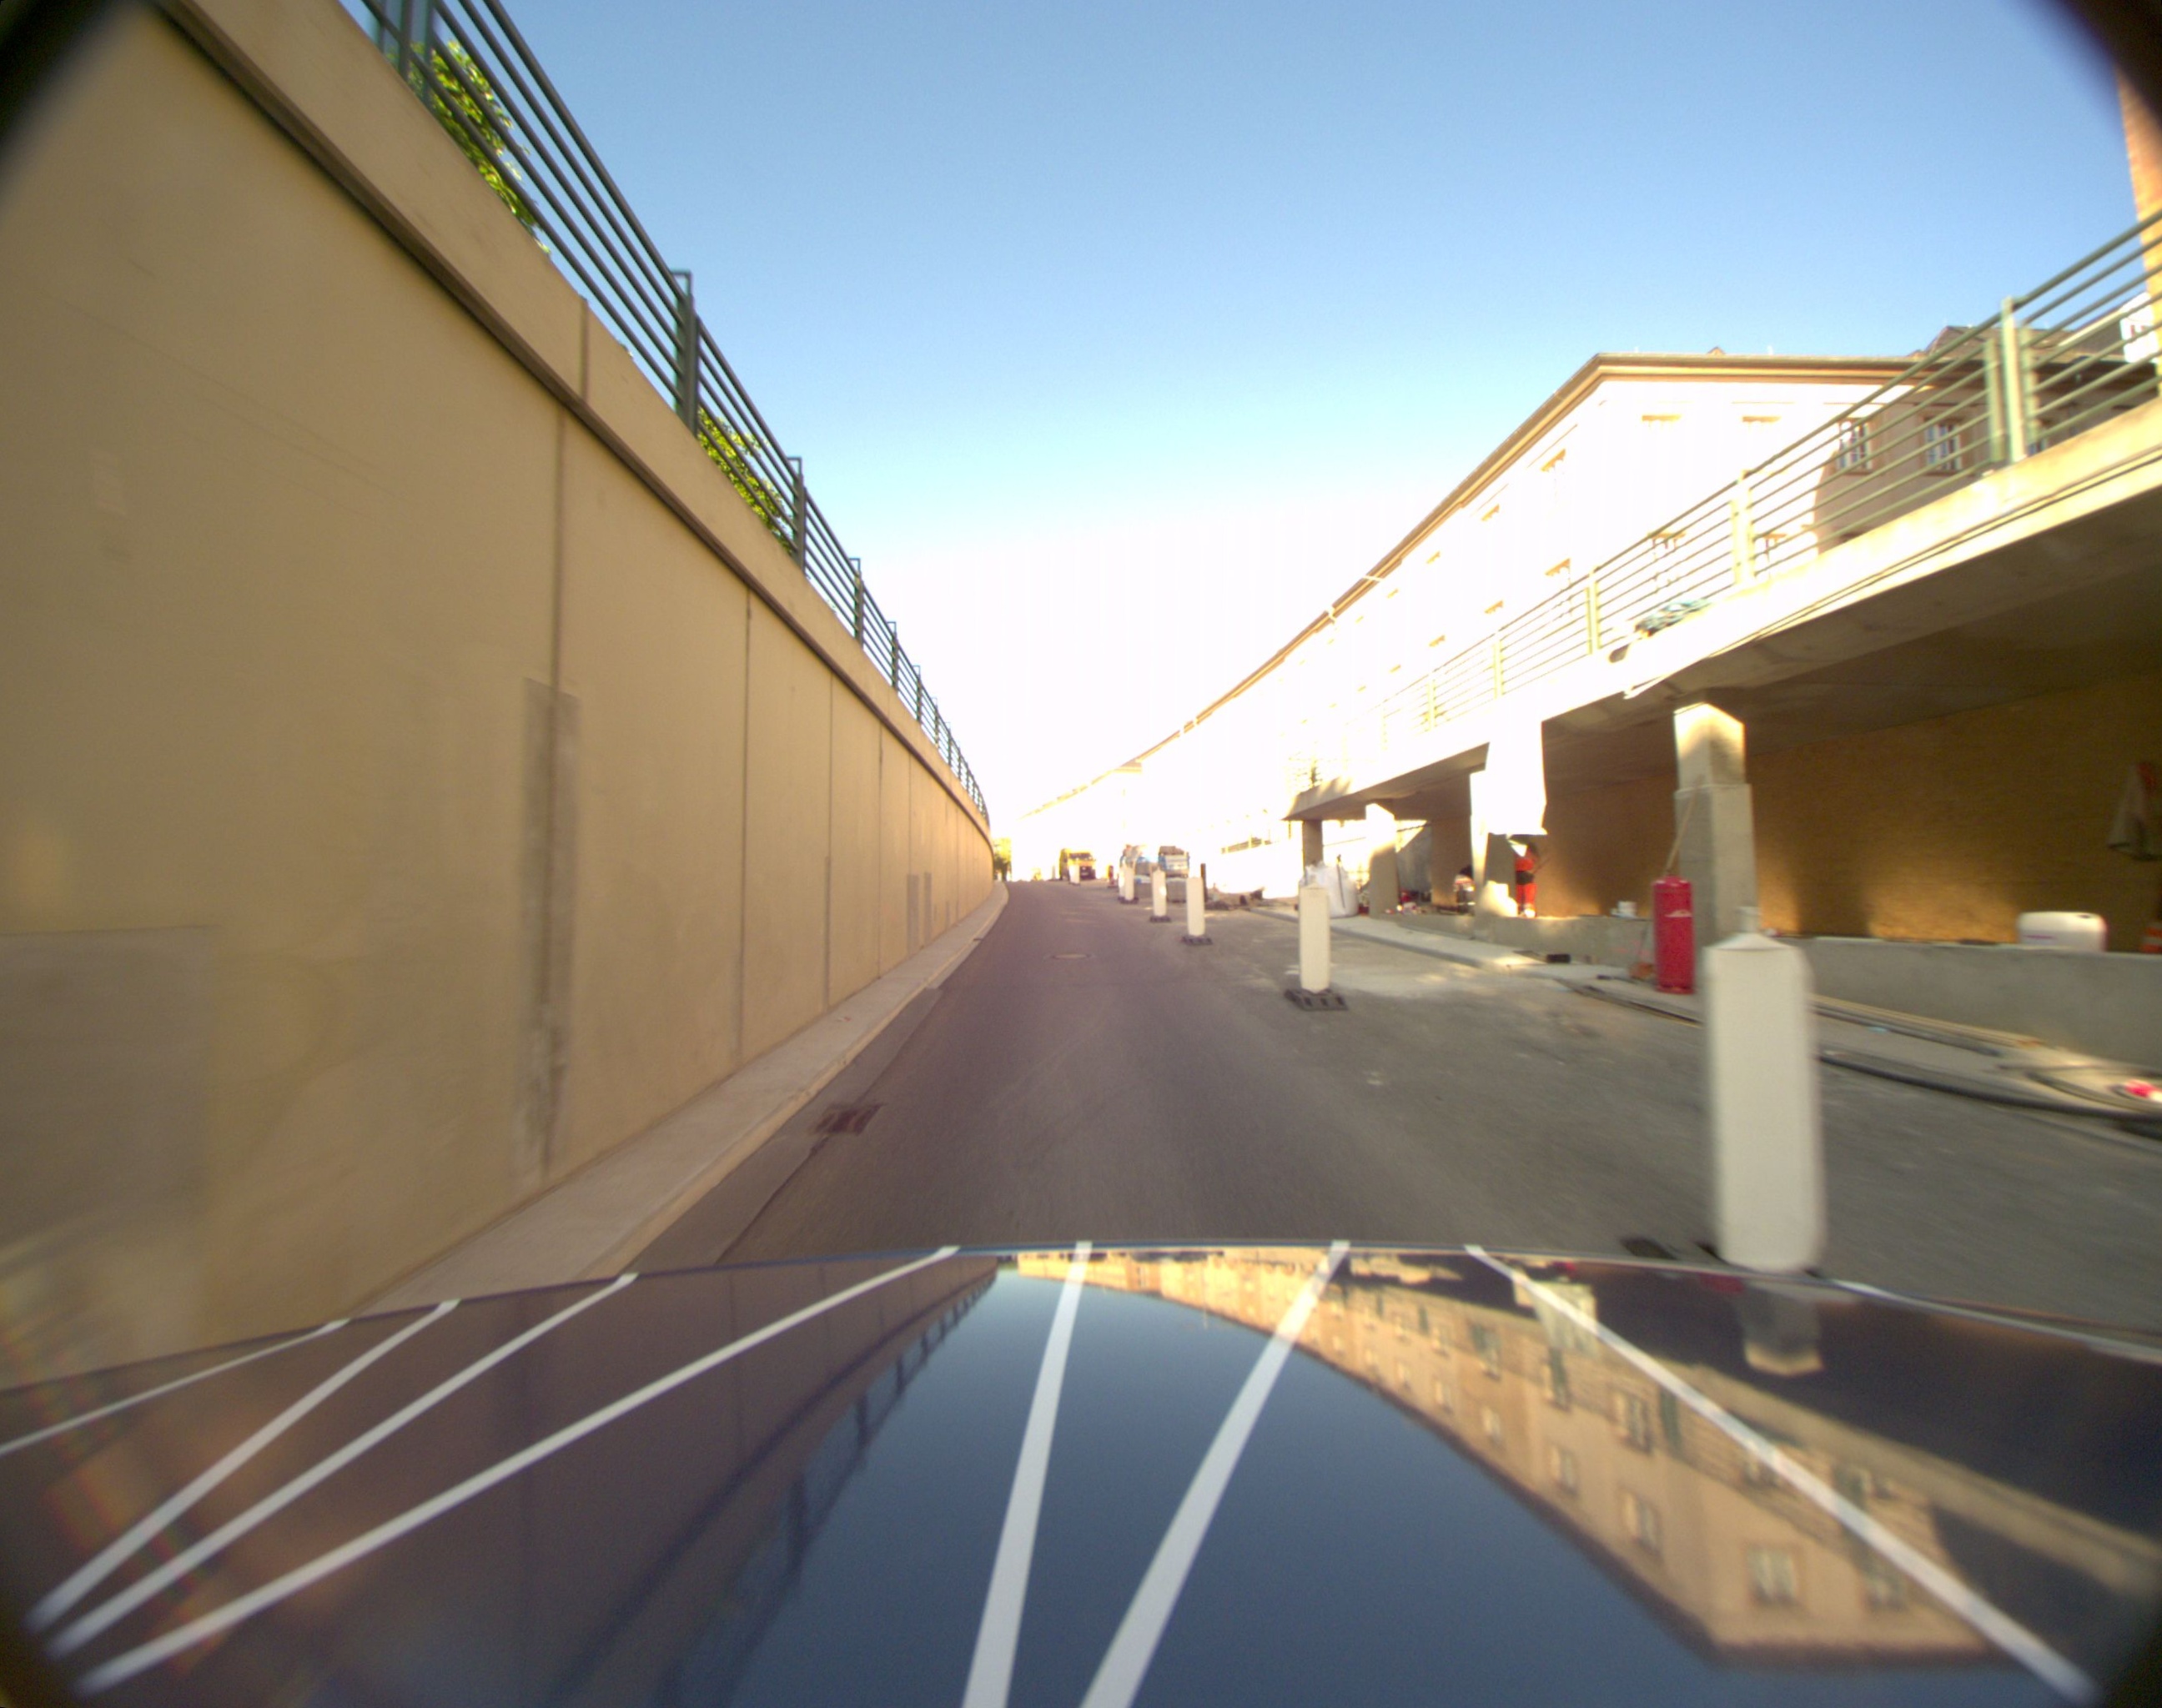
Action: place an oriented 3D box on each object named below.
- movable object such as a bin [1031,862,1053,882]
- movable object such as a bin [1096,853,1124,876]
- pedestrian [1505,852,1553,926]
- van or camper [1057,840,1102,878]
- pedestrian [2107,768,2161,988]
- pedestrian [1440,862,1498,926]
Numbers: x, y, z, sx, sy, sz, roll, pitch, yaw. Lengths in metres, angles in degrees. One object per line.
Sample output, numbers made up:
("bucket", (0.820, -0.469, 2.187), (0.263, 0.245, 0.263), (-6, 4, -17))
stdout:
("movable object such as a bin", (-5.250, 2.450, 100.582), (1.798, 2.437, 4.532), (1, -3, -18))
("movable object such as a bin", (3.199, 1.184, 84.059), (2.106, 2.380, 4.305), (2, -2, -11))
("pedestrian", (9.751, 0.744, 16.555), (0.651, 1.570, 0.630), (0, 0, -11))
("van or camper", (-0.203, 0.404, 56.470), (2.201, 2.597, 6.820), (-2, 0, -9))
("pedestrian", (9.886, 0.202, 6.587), (0.679, 1.945, 0.936), (-2, 0, -1))
("pedestrian", (8.683, 0.876, 17.028), (0.874, 1.390, 0.782), (0, 0, -10))
